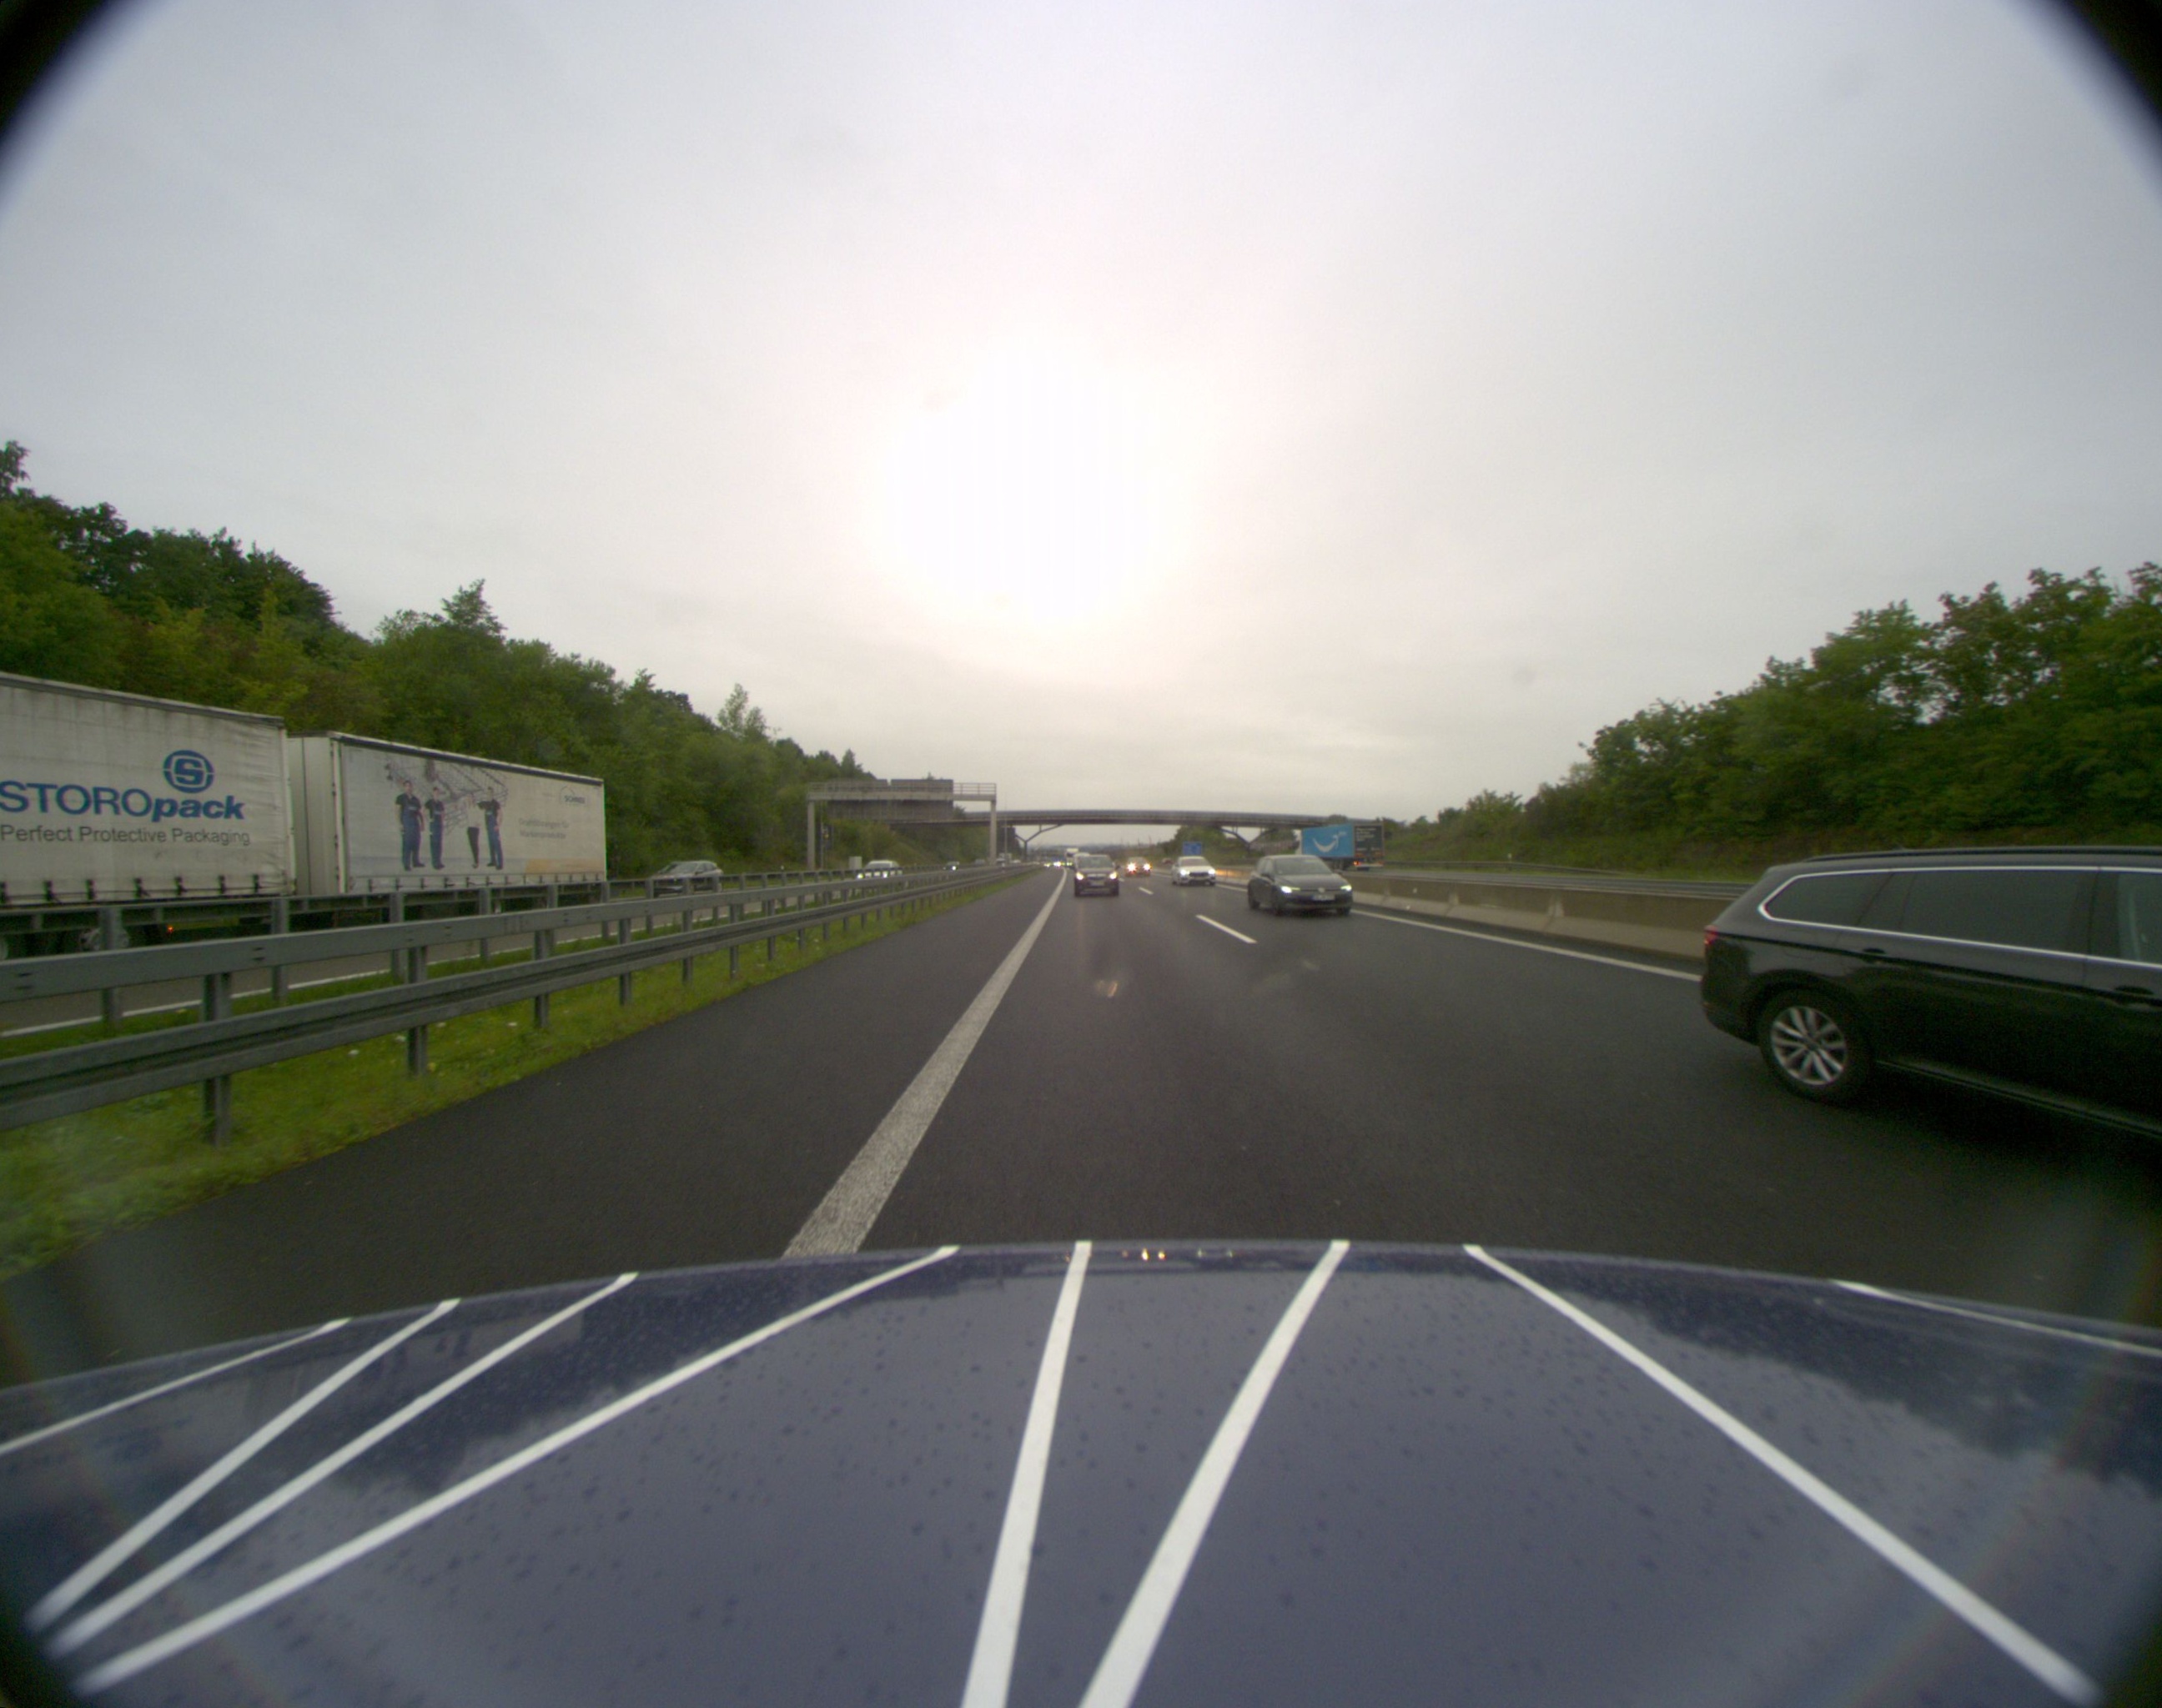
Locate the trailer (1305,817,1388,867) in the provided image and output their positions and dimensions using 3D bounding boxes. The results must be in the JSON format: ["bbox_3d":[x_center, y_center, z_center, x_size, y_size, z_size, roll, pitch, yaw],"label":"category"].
[{"bbox_3d":[23.784,-0.988,69.136,2.796,4.060,13.525,-1,0,0],"label":"trailer"}]

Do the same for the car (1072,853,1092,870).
[{"bbox_3d":[0.140,0.800,80.072,1.825,1.669,4.001,-1,1,3],"label":"car"}]

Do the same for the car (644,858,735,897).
[{"bbox_3d":[-18.345,1.042,35.850,1.864,1.605,4.499,-1,1,1],"label":"car"}]

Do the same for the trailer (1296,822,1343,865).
[{"bbox_3d":[23.768,-1.006,76.060,2.796,4.060,6.041,-1,0,0],"label":"trailer"}]

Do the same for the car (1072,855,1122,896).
[{"bbox_3d":[0.723,0.825,31.318,1.905,1.497,4.115,-1,0,3],"label":"car"}]

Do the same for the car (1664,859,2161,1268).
[{"bbox_3d":[5.039,0.806,2.924,1.905,1.488,4.851,-1,0,1],"label":"car"}]

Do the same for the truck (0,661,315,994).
[{"bbox_3d":[-15.531,-0.304,8.421,3.446,4.264,10.417,-1,0,0],"label":"truck"}]

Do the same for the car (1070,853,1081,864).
[{"bbox_3d":[-0.999,0.796,129.840,1.715,1.724,4.000,-1,0,1],"label":"car"}]

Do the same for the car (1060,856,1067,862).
[{"bbox_3d":[-5.691,1.619,252.764,1.916,1.671,4.000,-1,1,3],"label":"car"}]

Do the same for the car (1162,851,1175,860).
[{"bbox_3d":[15.416,0.225,133.847,1.980,1.562,4.501,-1,0,4],"label":"car"}]

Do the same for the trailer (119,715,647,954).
[{"bbox_3d":[-15.598,-0.373,18.977,3.446,4.264,10.452,-1,0,0],"label":"trailer"}]

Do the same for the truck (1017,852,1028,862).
[{"bbox_3d":[-20.006,1.045,261.886,2.909,3.397,13.350,-1,1,-1],"label":"truck"}]

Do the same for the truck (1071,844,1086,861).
[{"bbox_3d":[-0.492,-0.378,163.974,3.153,3.332,13.099,-1,1,0],"label":"truck"}]

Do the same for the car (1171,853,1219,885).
[{"bbox_3d":[5.776,0.712,38.822,1.905,1.497,4.114,-1,0,1],"label":"car"}]

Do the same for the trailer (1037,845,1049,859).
[{"bbox_3d":[-10.419,-0.493,207.899,2.547,3.799,11.329,-1,0,0],"label":"trailer"}]

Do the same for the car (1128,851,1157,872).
[{"bbox_3d":[4.731,0.567,59.164,1.905,1.497,4.113,-1,0,0],"label":"car"}]

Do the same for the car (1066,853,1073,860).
[{"bbox_3d":[-2.877,0.719,192.894,1.715,1.724,4.000,-1,0,1],"label":"car"}]

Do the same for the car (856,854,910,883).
[{"bbox_3d":[-10.938,0.782,42.219,1.864,1.439,4.157,-1,1,0],"label":"car"}]

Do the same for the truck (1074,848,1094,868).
[{"bbox_3d":[0.364,0.454,87.569,2.175,2.214,5.641,-1,0,0],"label":"truck"}]

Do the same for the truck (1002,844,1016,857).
[{"bbox_3d":[-18.426,-0.894,194.347,2.909,3.397,9.279,-1,1,-3],"label":"truck"}]

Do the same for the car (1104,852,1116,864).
[{"bbox_3d":[4.485,0.613,117.062,1.715,1.724,4.000,-1,0,1],"label":"car"}]

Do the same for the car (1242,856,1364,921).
[{"bbox_3d":[5.498,0.798,19.425,1.905,1.397,4.459,-1,0,1],"label":"car"}]
